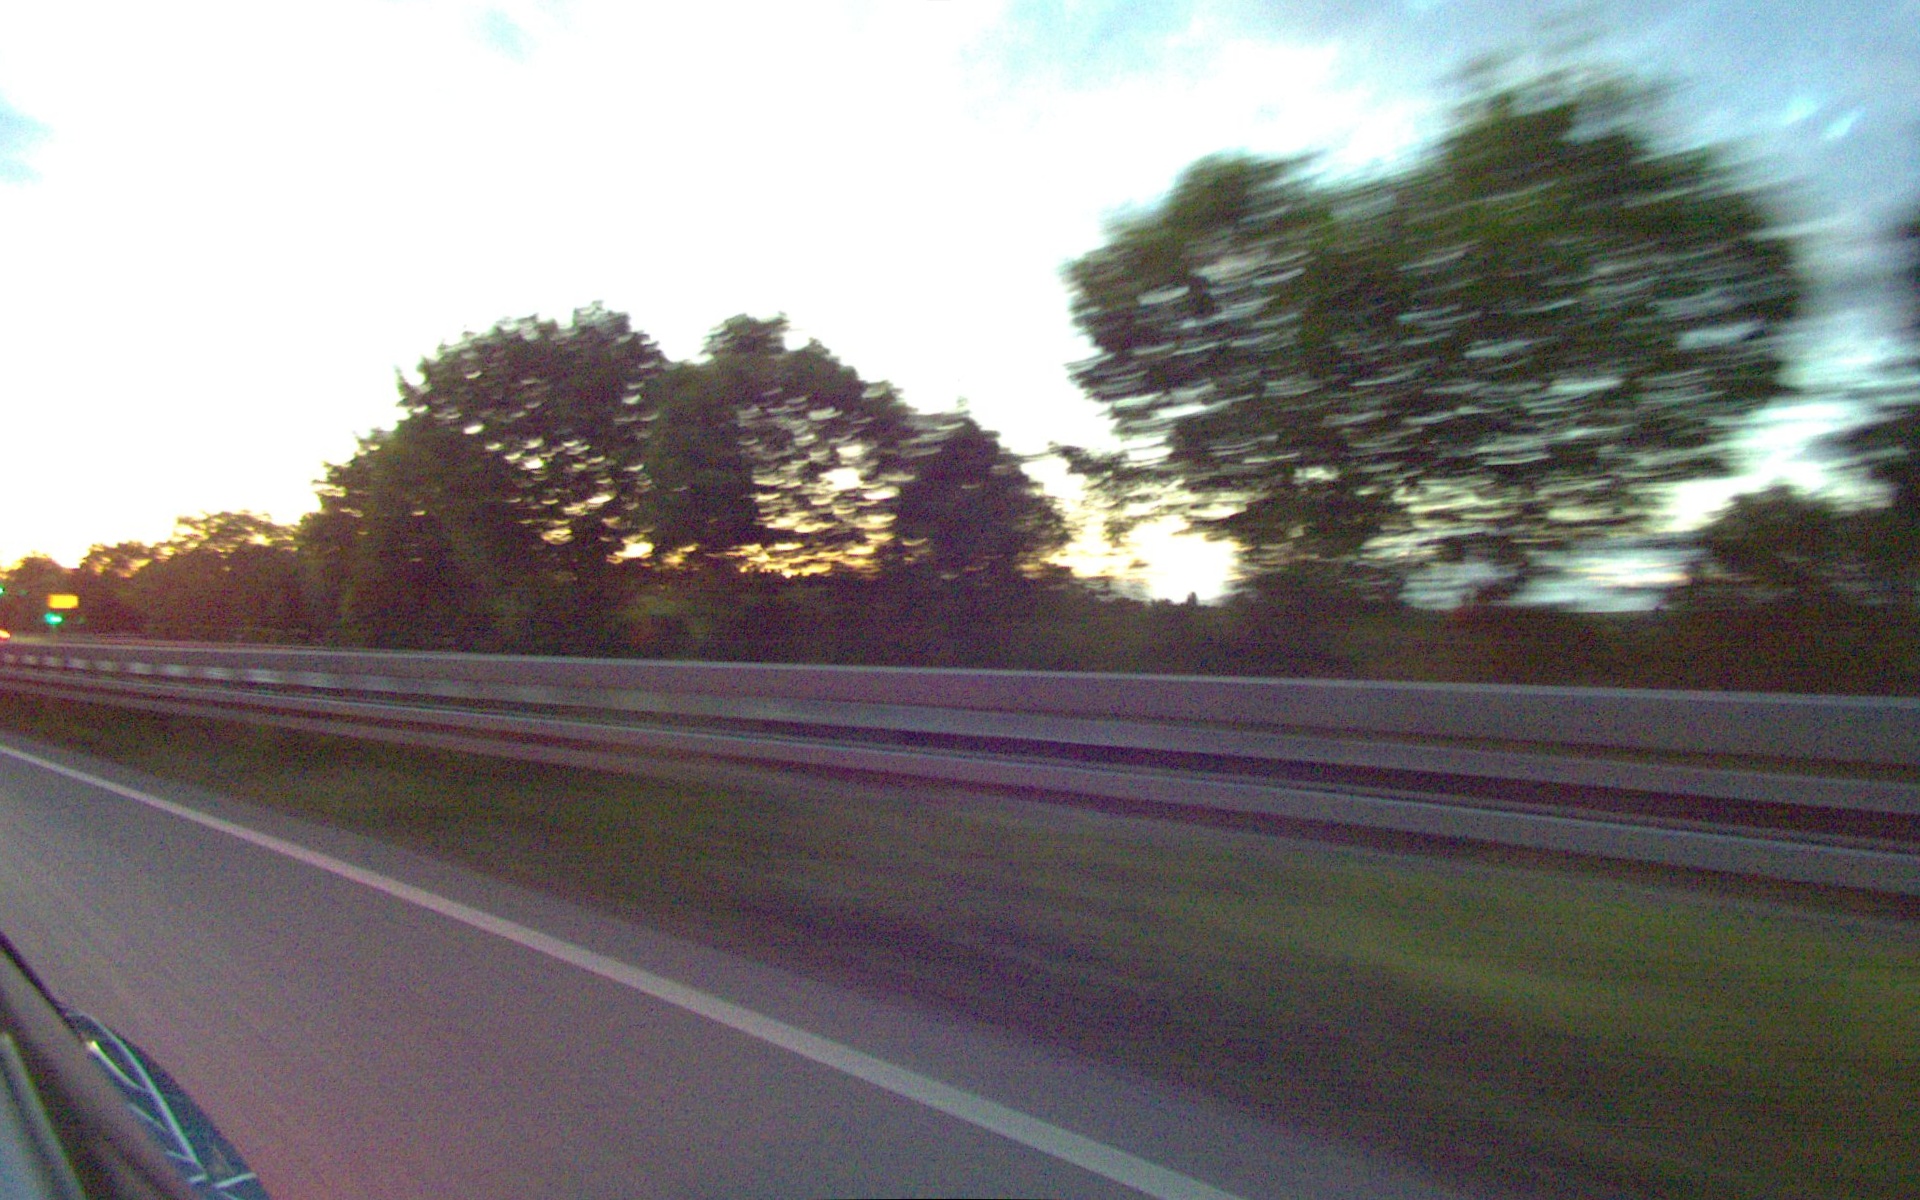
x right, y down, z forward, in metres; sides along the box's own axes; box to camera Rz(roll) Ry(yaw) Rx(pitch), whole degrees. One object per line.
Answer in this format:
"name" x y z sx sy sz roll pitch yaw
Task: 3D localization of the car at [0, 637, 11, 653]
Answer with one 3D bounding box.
"car" -86.036 3.985 89.860 4.729 1.464 1.974 -2 -3 39
